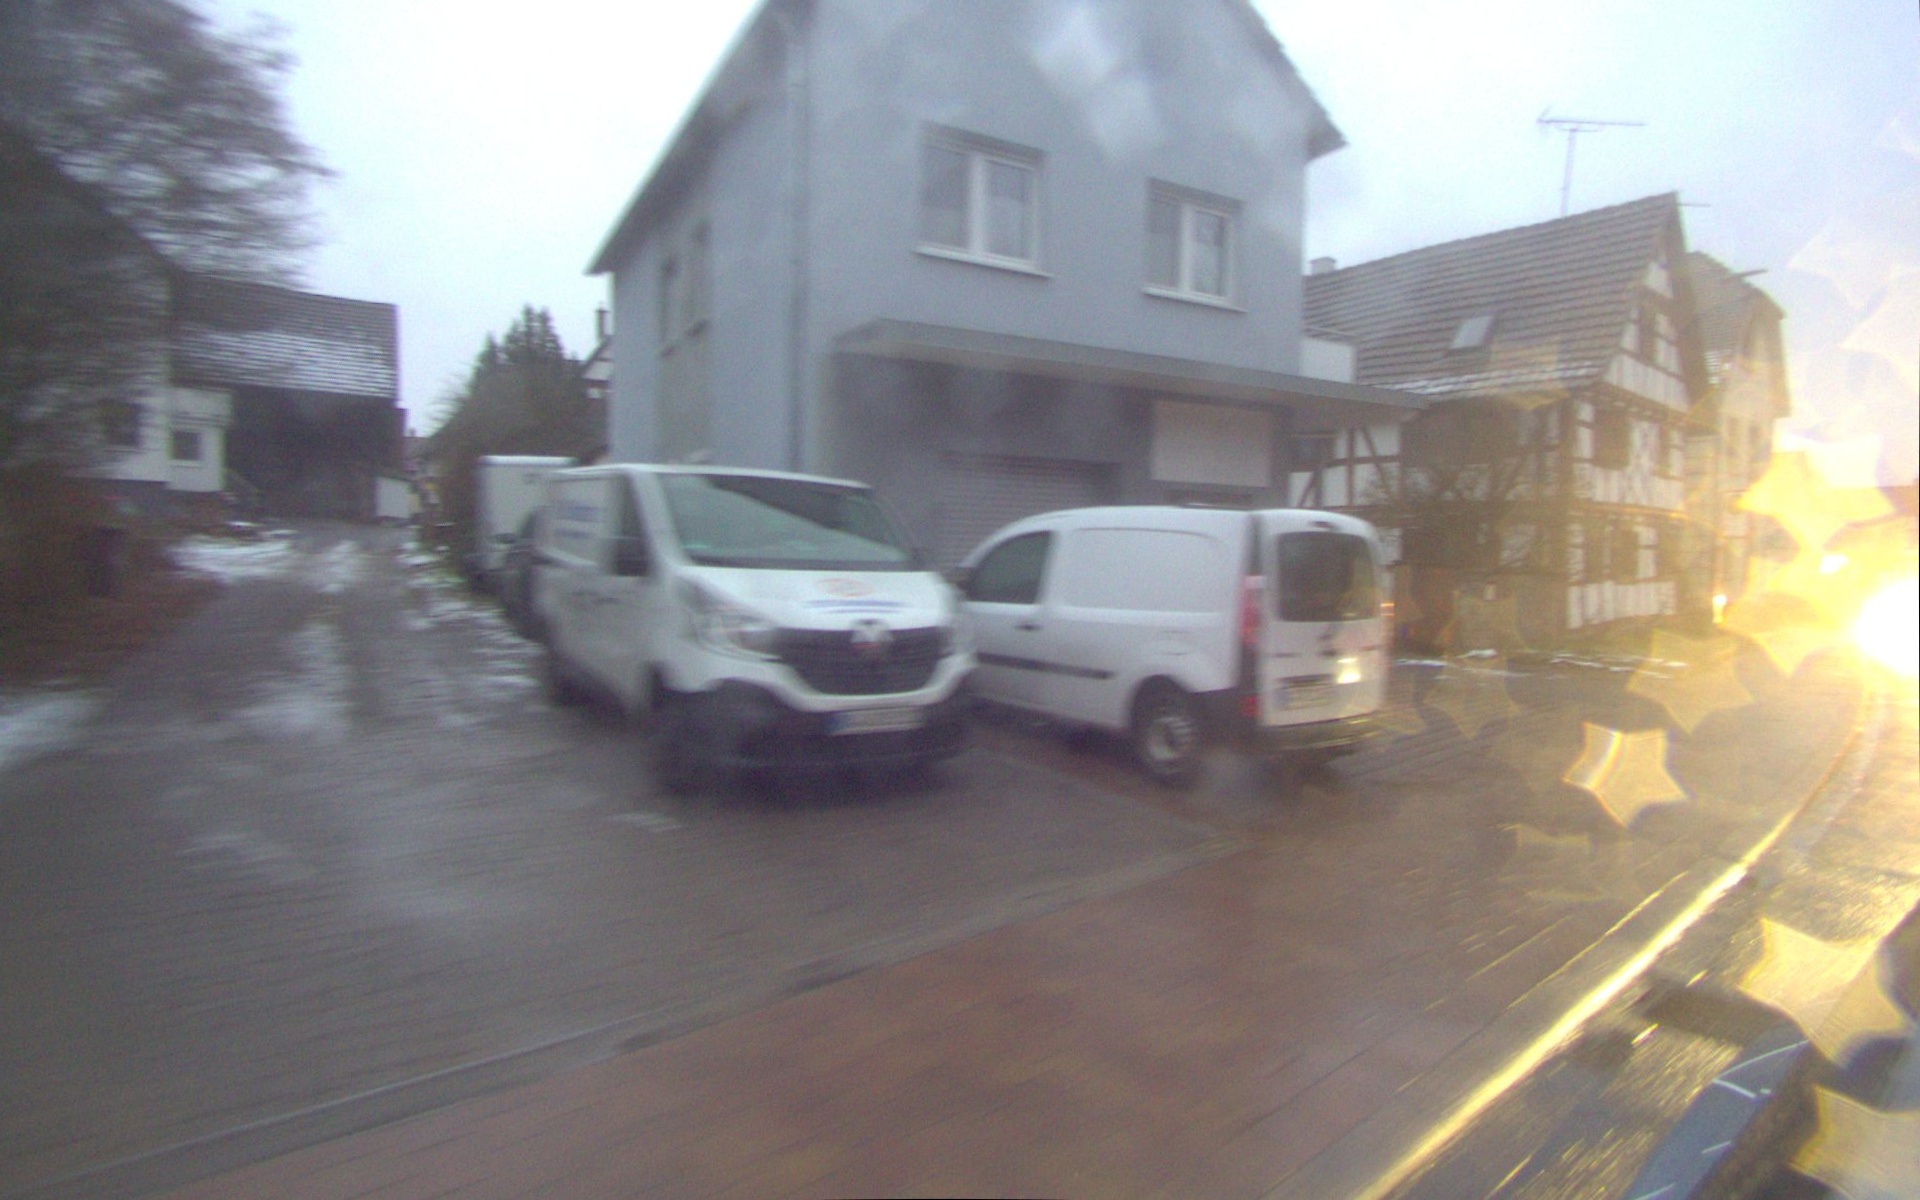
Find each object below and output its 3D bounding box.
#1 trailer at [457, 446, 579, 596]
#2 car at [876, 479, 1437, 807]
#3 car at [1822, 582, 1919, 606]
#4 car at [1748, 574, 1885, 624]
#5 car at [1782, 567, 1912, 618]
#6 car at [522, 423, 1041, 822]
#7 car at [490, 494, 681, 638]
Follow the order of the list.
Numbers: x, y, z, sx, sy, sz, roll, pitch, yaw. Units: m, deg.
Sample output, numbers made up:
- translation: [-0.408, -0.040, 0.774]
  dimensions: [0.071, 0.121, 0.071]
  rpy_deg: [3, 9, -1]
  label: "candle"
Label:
- translation: [-8.580, -1.591, 19.459]
  dimensions: [1.802, 2.546, 4.010]
  rpy_deg: [-1, 7, -28]
  label: "trailer"
- translation: [1.230, 0.081, 7.896]
  dimensions: [1.830, 1.865, 4.055]
  rpy_deg: [-1, 5, -38]
  label: "car"
- translation: [49.314, -0.355, 54.827]
  dimensions: [3.880, 1.141, 1.526]
  rpy_deg: [4, 3, 44]
  label: "car"
- translation: [32.372, -0.075, 38.378]
  dimensions: [3.838, 1.647, 1.588]
  rpy_deg: [4, 3, 40]
  label: "car"
- translation: [36.530, -0.328, 41.829]
  dimensions: [3.873, 1.900, 1.843]
  rpy_deg: [3, 3, 39]
  label: "car"
- translation: [-1.726, -0.073, 7.444]
  dimensions: [1.899, 1.911, 5.003]
  rpy_deg: [0, 4, -33]
  label: "car"
- translation: [-5.270, -0.580, 13.890]
  dimensions: [1.843, 1.641, 4.009]
  rpy_deg: [0, 6, -29]
  label: "car"
